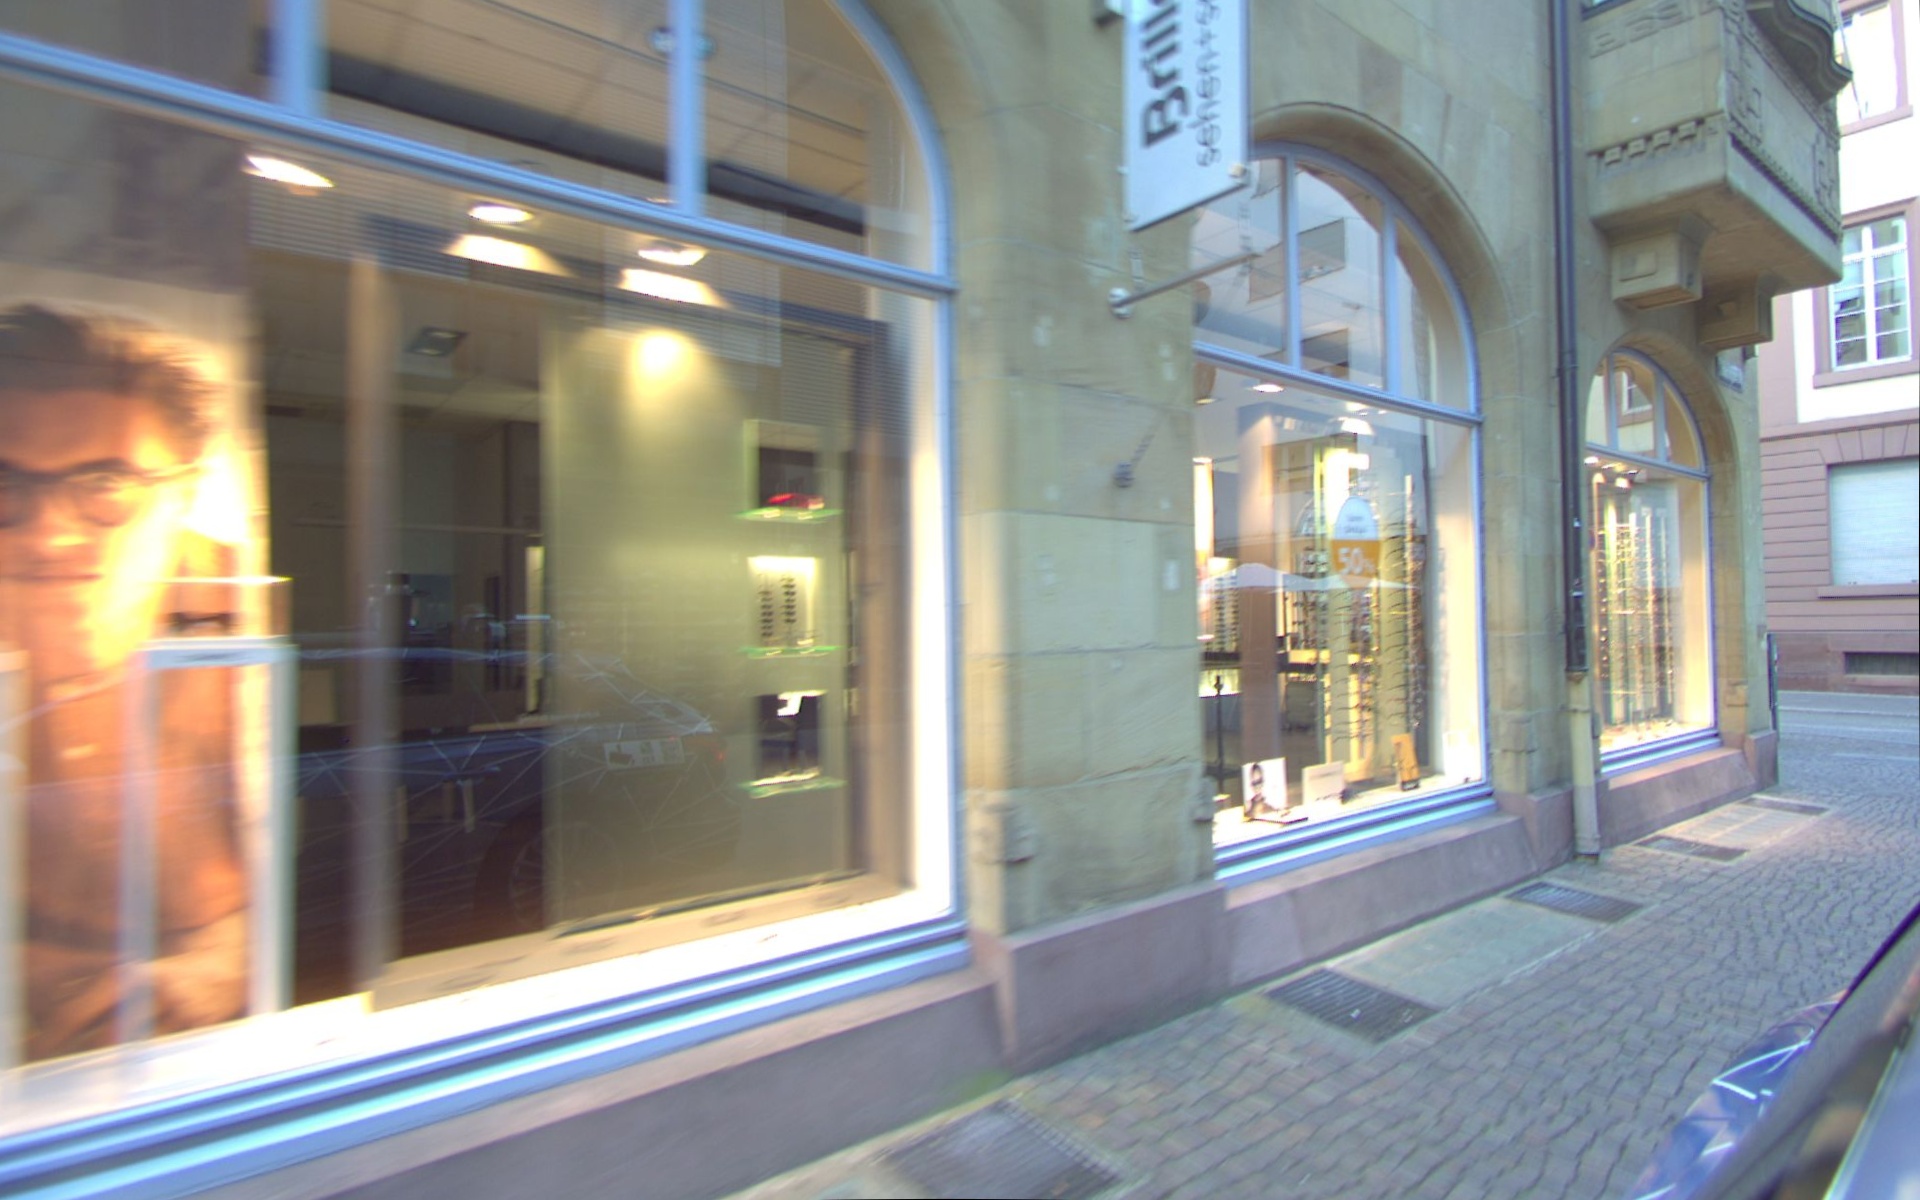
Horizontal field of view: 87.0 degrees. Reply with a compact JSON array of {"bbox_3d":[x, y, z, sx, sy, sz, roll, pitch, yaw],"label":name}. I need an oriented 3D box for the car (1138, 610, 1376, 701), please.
[{"bbox_3d":[5.299,0.949,18.502,1.619,1.461,3.998,0,-1,-36],"label":"car"}]
